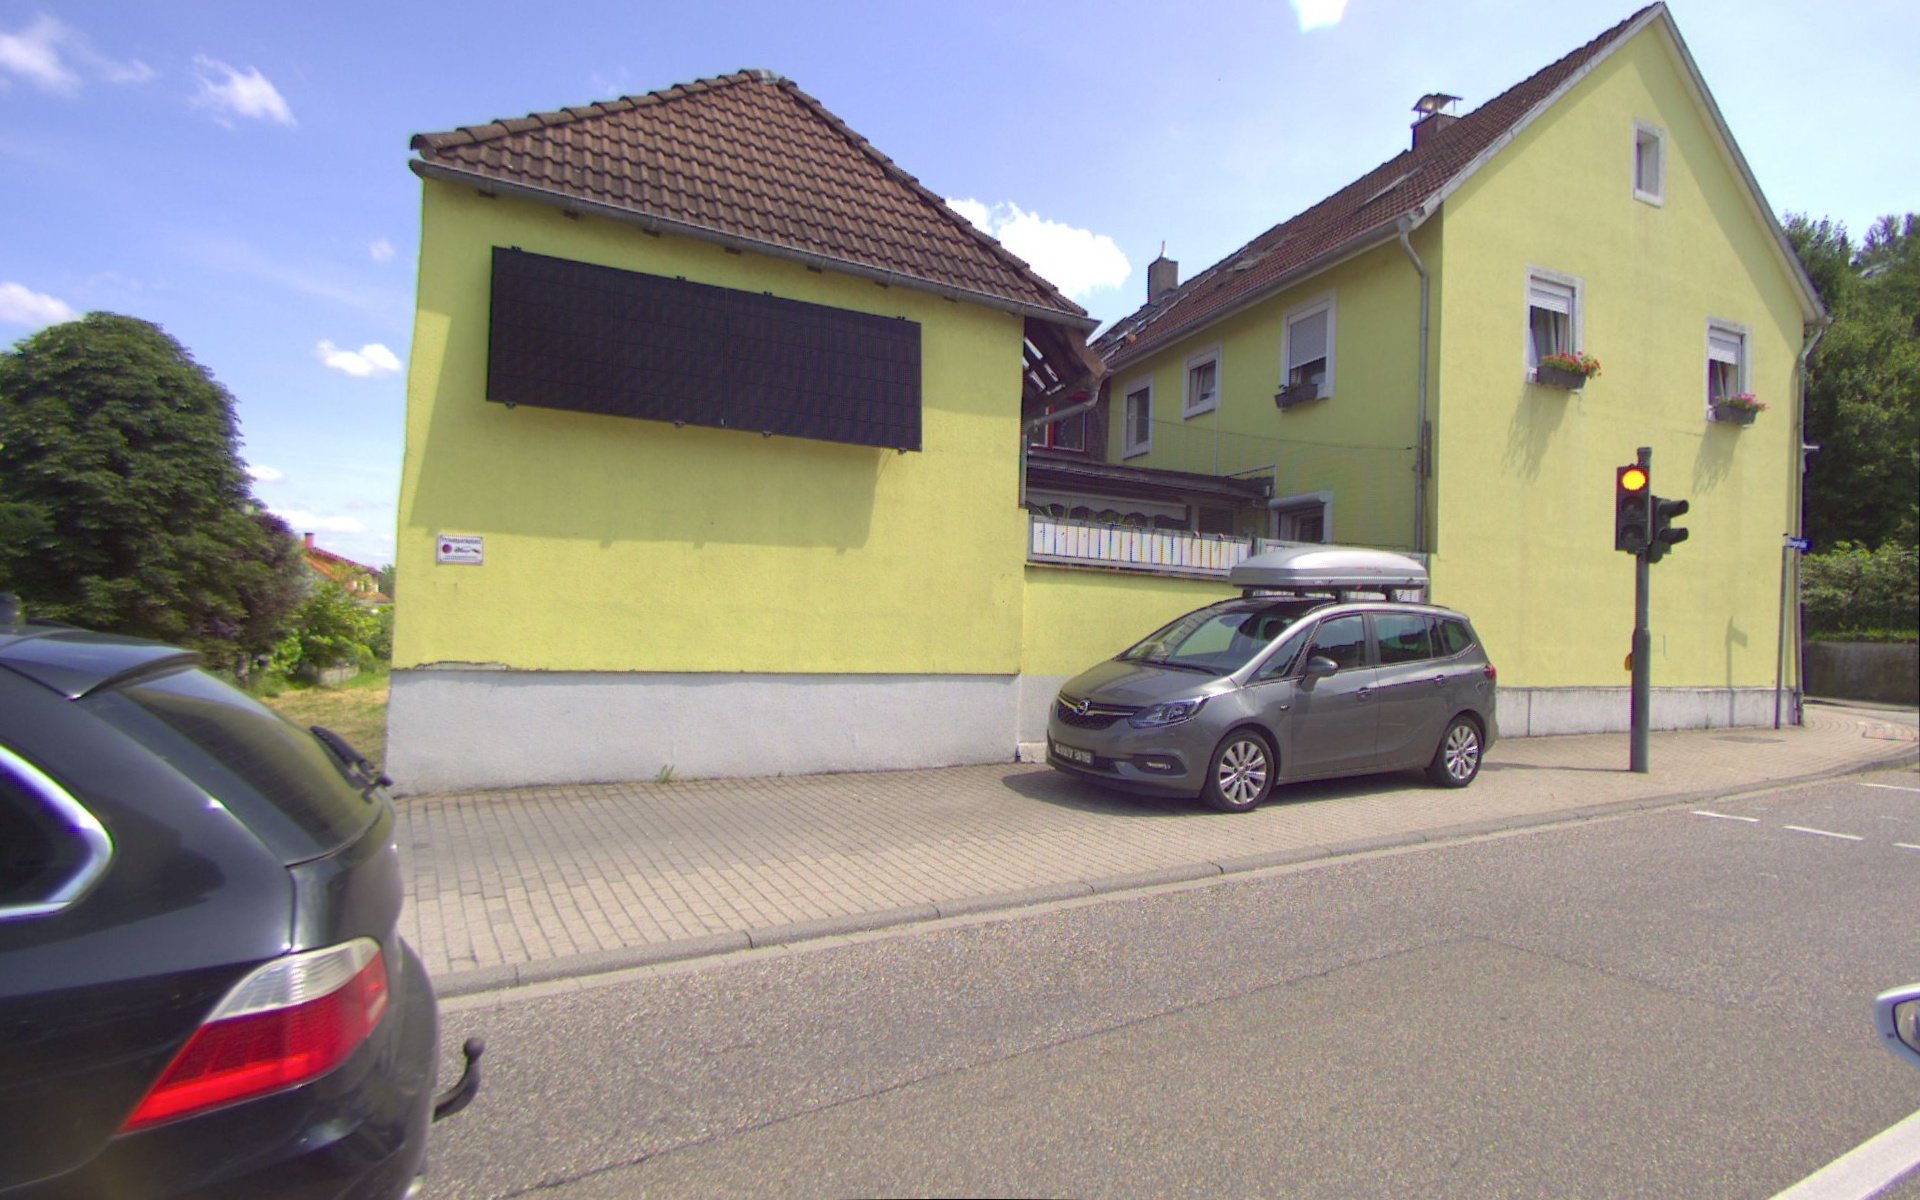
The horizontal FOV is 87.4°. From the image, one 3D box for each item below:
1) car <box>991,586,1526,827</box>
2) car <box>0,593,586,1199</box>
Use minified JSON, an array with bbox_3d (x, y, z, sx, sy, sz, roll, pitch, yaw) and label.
[{"bbox_3d":[2.752,0.788,9.010,4.575,1.657,1.984,2,1,-30],"label":"car"},{"bbox_3d":[-3.067,0.708,1.285,4.616,1.461,1.855,2,-2,-30],"label":"car"}]
